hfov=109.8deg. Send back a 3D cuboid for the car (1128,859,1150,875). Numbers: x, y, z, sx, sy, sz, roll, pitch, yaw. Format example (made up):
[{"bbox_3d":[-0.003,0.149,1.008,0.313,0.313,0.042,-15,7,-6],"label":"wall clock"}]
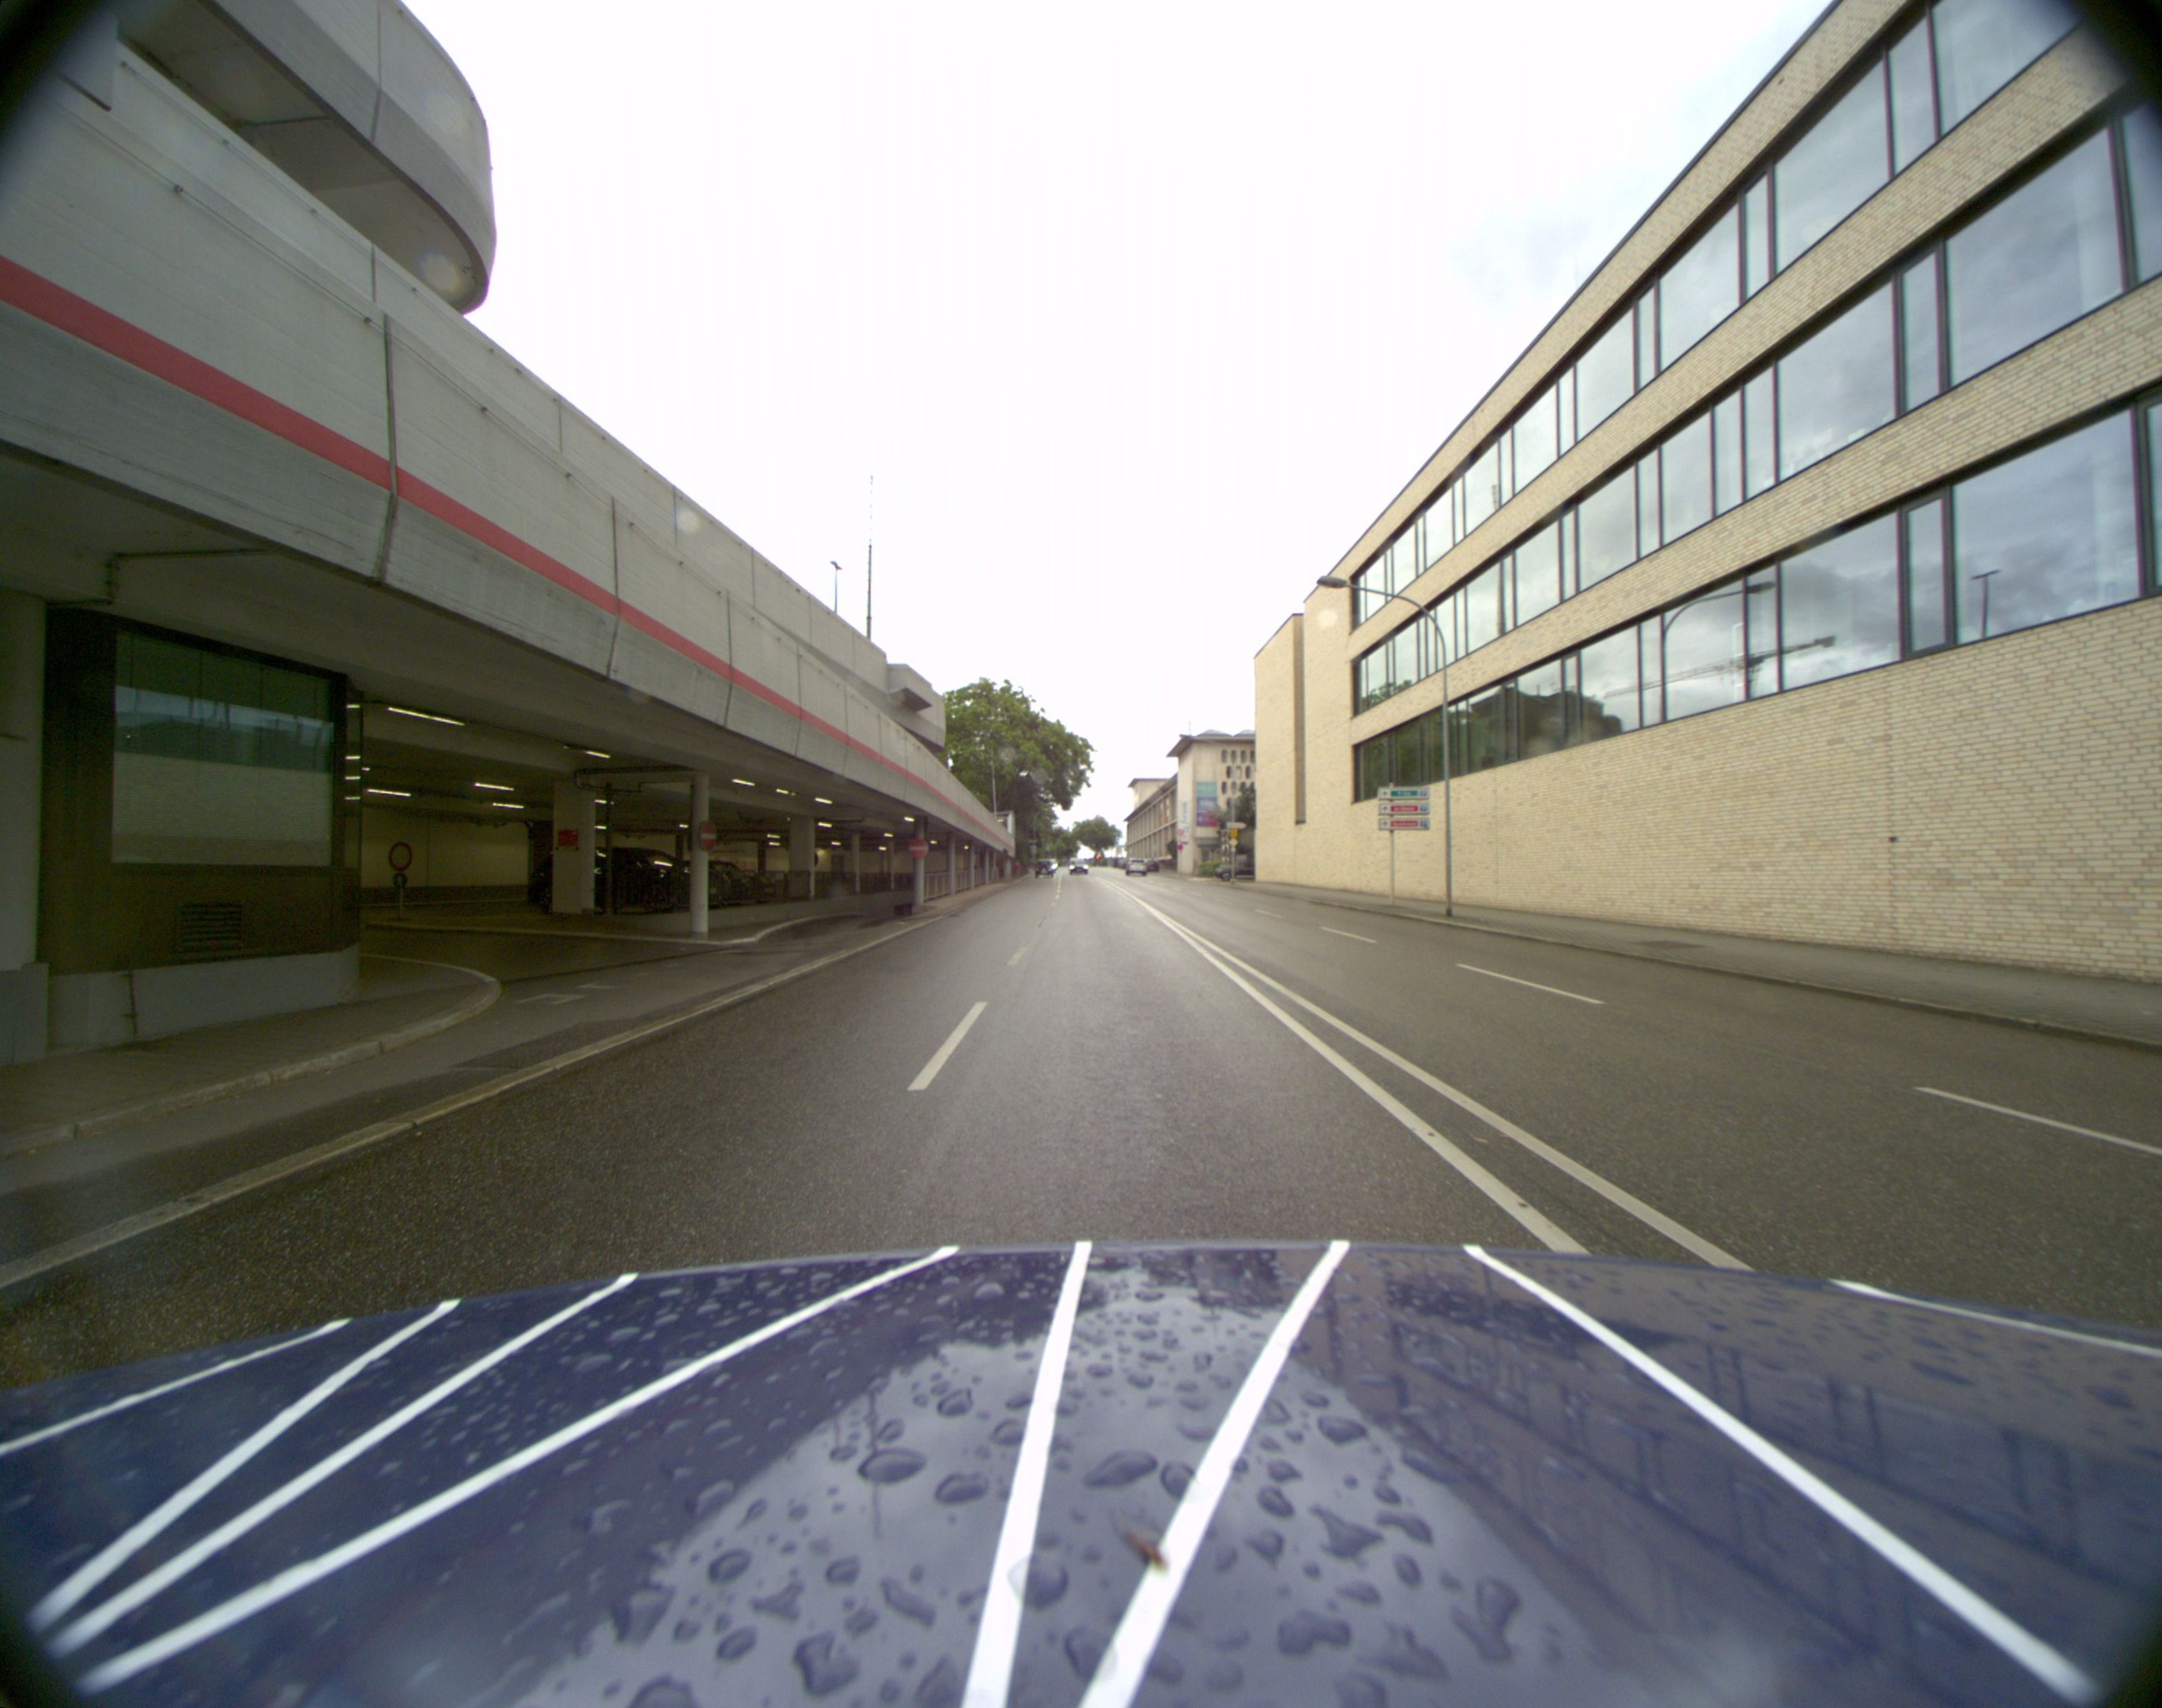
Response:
[{"bbox_3d":[5.592,1.242,73.166,1.800,1.516,4.056,-2,-1,1],"label":"car"}]

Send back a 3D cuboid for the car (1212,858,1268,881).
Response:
[{"bbox_3d":[12.015,1.161,57.249,3.992,1.652,1.863,-1,0,16],"label":"car"}]

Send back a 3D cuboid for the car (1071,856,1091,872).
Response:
[{"bbox_3d":[-0.004,0.986,74.204,1.852,1.516,3.990,-2,-1,1],"label":"car"}]

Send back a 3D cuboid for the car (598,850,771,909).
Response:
[{"bbox_3d":[-11.923,0.817,22.993,4.251,1.650,2.003,-1,-4,10],"label":"car"}]

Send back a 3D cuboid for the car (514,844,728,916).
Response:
[{"bbox_3d":[-11.393,0.694,18.969,4.251,1.650,2.003,-1,-4,10],"label":"car"}]

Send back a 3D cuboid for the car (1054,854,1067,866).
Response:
[{"bbox_3d":[-3.134,0.886,114.096,1.727,1.628,3.999,-2,1,1],"label":"car"}]

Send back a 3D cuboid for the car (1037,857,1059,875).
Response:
[{"bbox_3d":[-2.967,1.035,68.436,1.683,1.516,3.990,-2,-1,1],"label":"car"}]

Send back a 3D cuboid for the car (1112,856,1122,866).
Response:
[{"bbox_3d":[6.758,1.251,142.579,1.698,1.715,3.756,-2,1,1],"label":"car"}]

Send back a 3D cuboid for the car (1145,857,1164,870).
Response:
[{"bbox_3d":[8.773,1.132,91.099,1.800,1.516,4.056,-2,-1,1],"label":"car"}]

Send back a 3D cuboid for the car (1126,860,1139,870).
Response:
[{"bbox_3d":[8.254,1.711,121.867,1.800,1.516,4.056,-2,-1,1],"label":"car"}]

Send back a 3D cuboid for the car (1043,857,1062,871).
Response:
[{"bbox_3d":[-3.223,1.081,85.872,1.915,1.443,4.036,-2,1,0],"label":"car"}]
